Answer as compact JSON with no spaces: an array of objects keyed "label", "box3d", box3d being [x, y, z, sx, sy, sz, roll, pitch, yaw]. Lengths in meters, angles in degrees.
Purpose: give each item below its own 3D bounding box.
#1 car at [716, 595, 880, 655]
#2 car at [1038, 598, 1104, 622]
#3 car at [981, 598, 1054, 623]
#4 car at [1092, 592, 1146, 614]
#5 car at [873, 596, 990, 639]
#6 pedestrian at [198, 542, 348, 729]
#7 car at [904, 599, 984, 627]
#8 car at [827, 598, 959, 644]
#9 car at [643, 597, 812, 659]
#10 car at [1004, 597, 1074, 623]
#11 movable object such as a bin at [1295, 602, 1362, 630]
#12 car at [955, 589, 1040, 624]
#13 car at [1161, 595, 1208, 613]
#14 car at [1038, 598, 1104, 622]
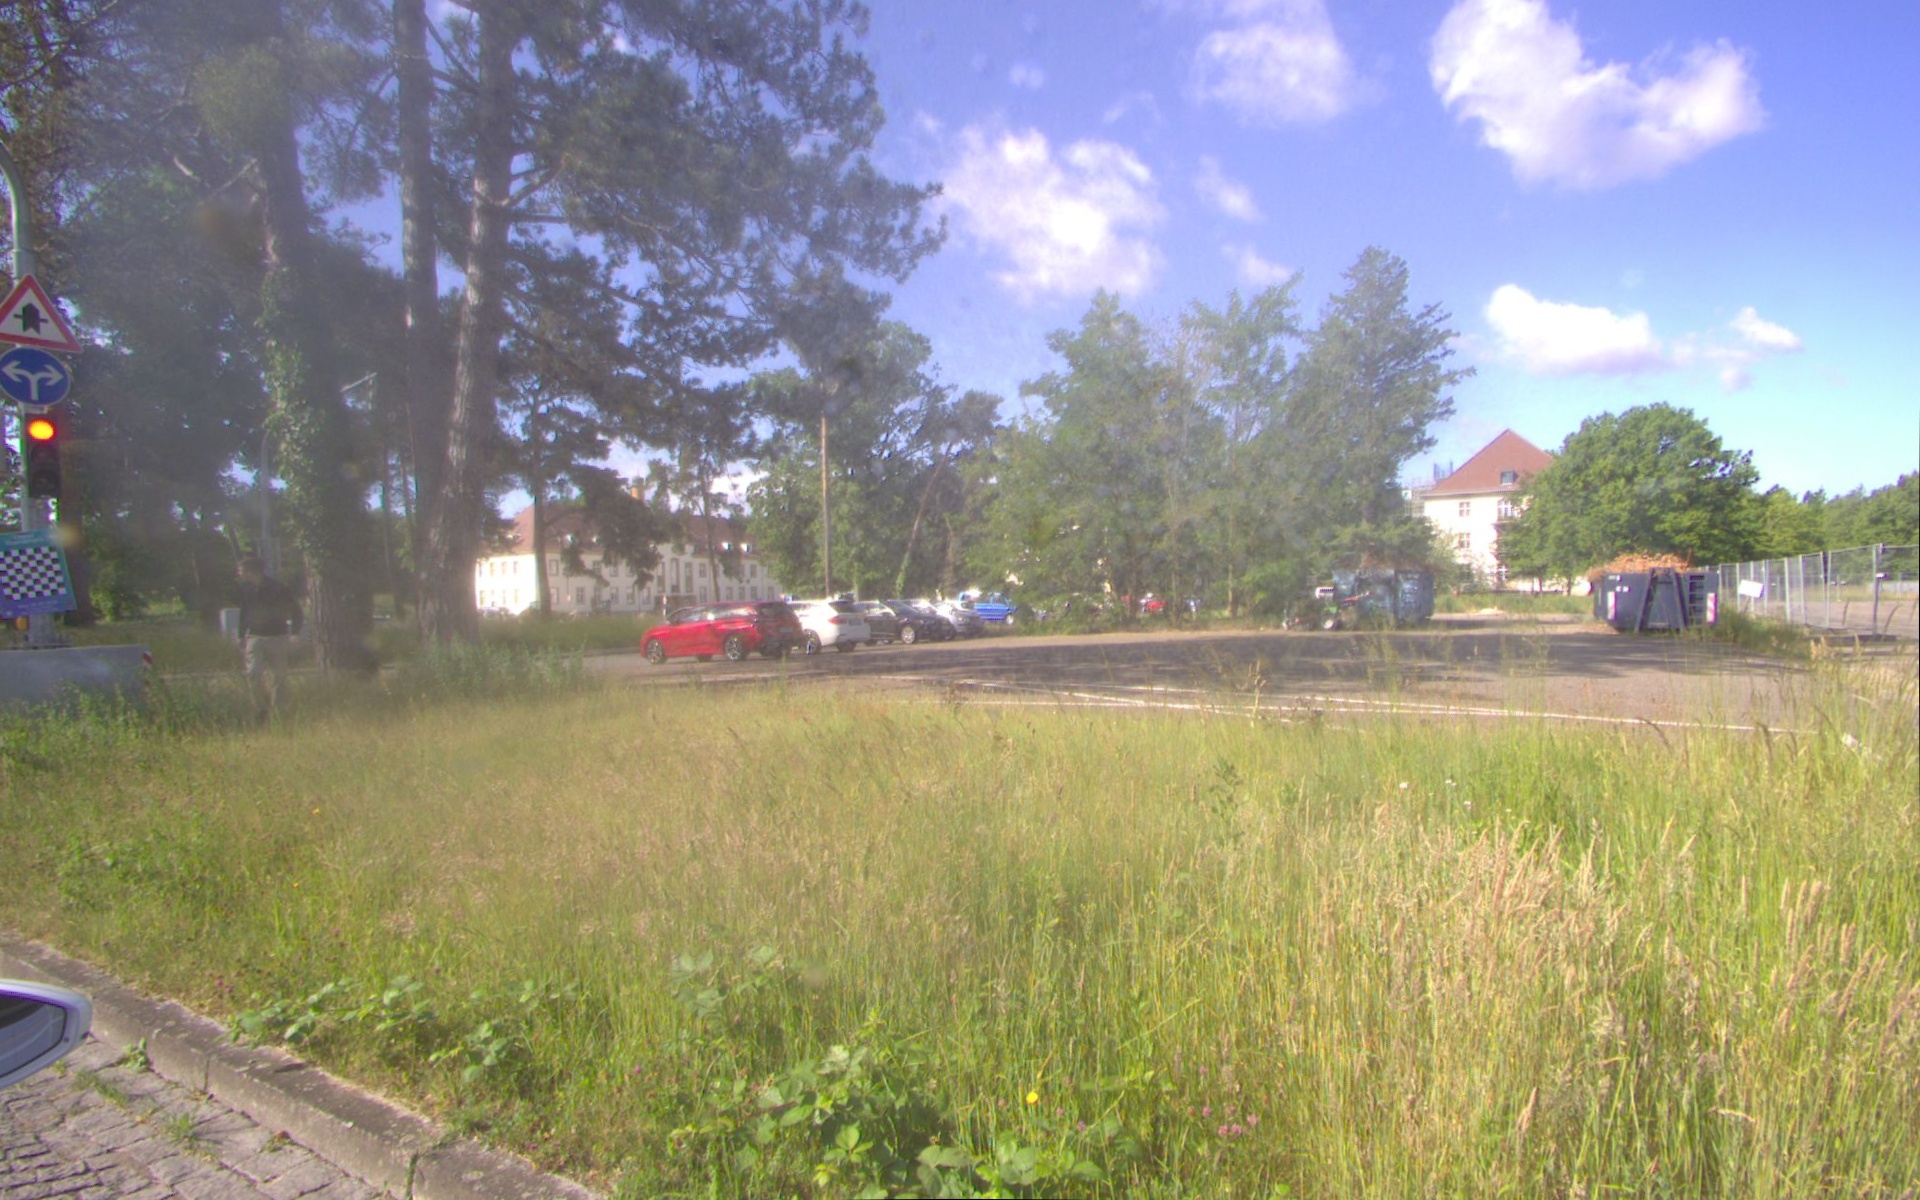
[{"label":"car","box3d":[-4.426,0.689,27.222,4.179,1.396,1.776,-3,-1,30]},{"label":"car","box3d":[7.667,0.702,69.369,4.180,1.568,1.720,-1,-1,32]},{"label":"car","box3d":[3.511,0.646,61.529,4.180,1.443,1.720,-1,-1,32]},{"label":"car","box3d":[11.997,0.262,75.740,3.681,1.568,1.705,-1,-1,32]},{"label":"car","box3d":[-0.986,0.607,34.484,3.739,1.390,1.720,-1,-1,34]},{"label":"pedestrian","box3d":[-7.159,0.336,10.519,1.155,1.820,1.057,-2,2,-30]},{"label":"car","box3d":[-0.893,0.709,55.061,4.180,1.487,1.720,-1,-1,32]},{"label":"car","box3d":[-2.137,0.661,31.788,3.987,1.332,1.612,-1,1,33]},{"label":"car","box3d":[-5.757,0.712,24.660,4.071,1.417,1.652,-2,-1,32]},{"label":"car","box3d":[5.054,0.648,64.131,4.180,1.568,1.720,-1,-1,32]},{"label":"movable object such as a bin","box3d":[10.506,0.449,28.546,1.696,0.762,1.143,-1,0,25]},{"label":"car","box3d":[2.189,0.397,59.205,4.676,1.973,1.982,-1,-1,32]},{"label":"car","box3d":[19.635,0.367,87.555,3.681,1.568,1.705,-1,-1,32]},{"label":"car","box3d":[7.681,0.702,69.361,4.180,1.568,1.720,-1,-1,32]}]
